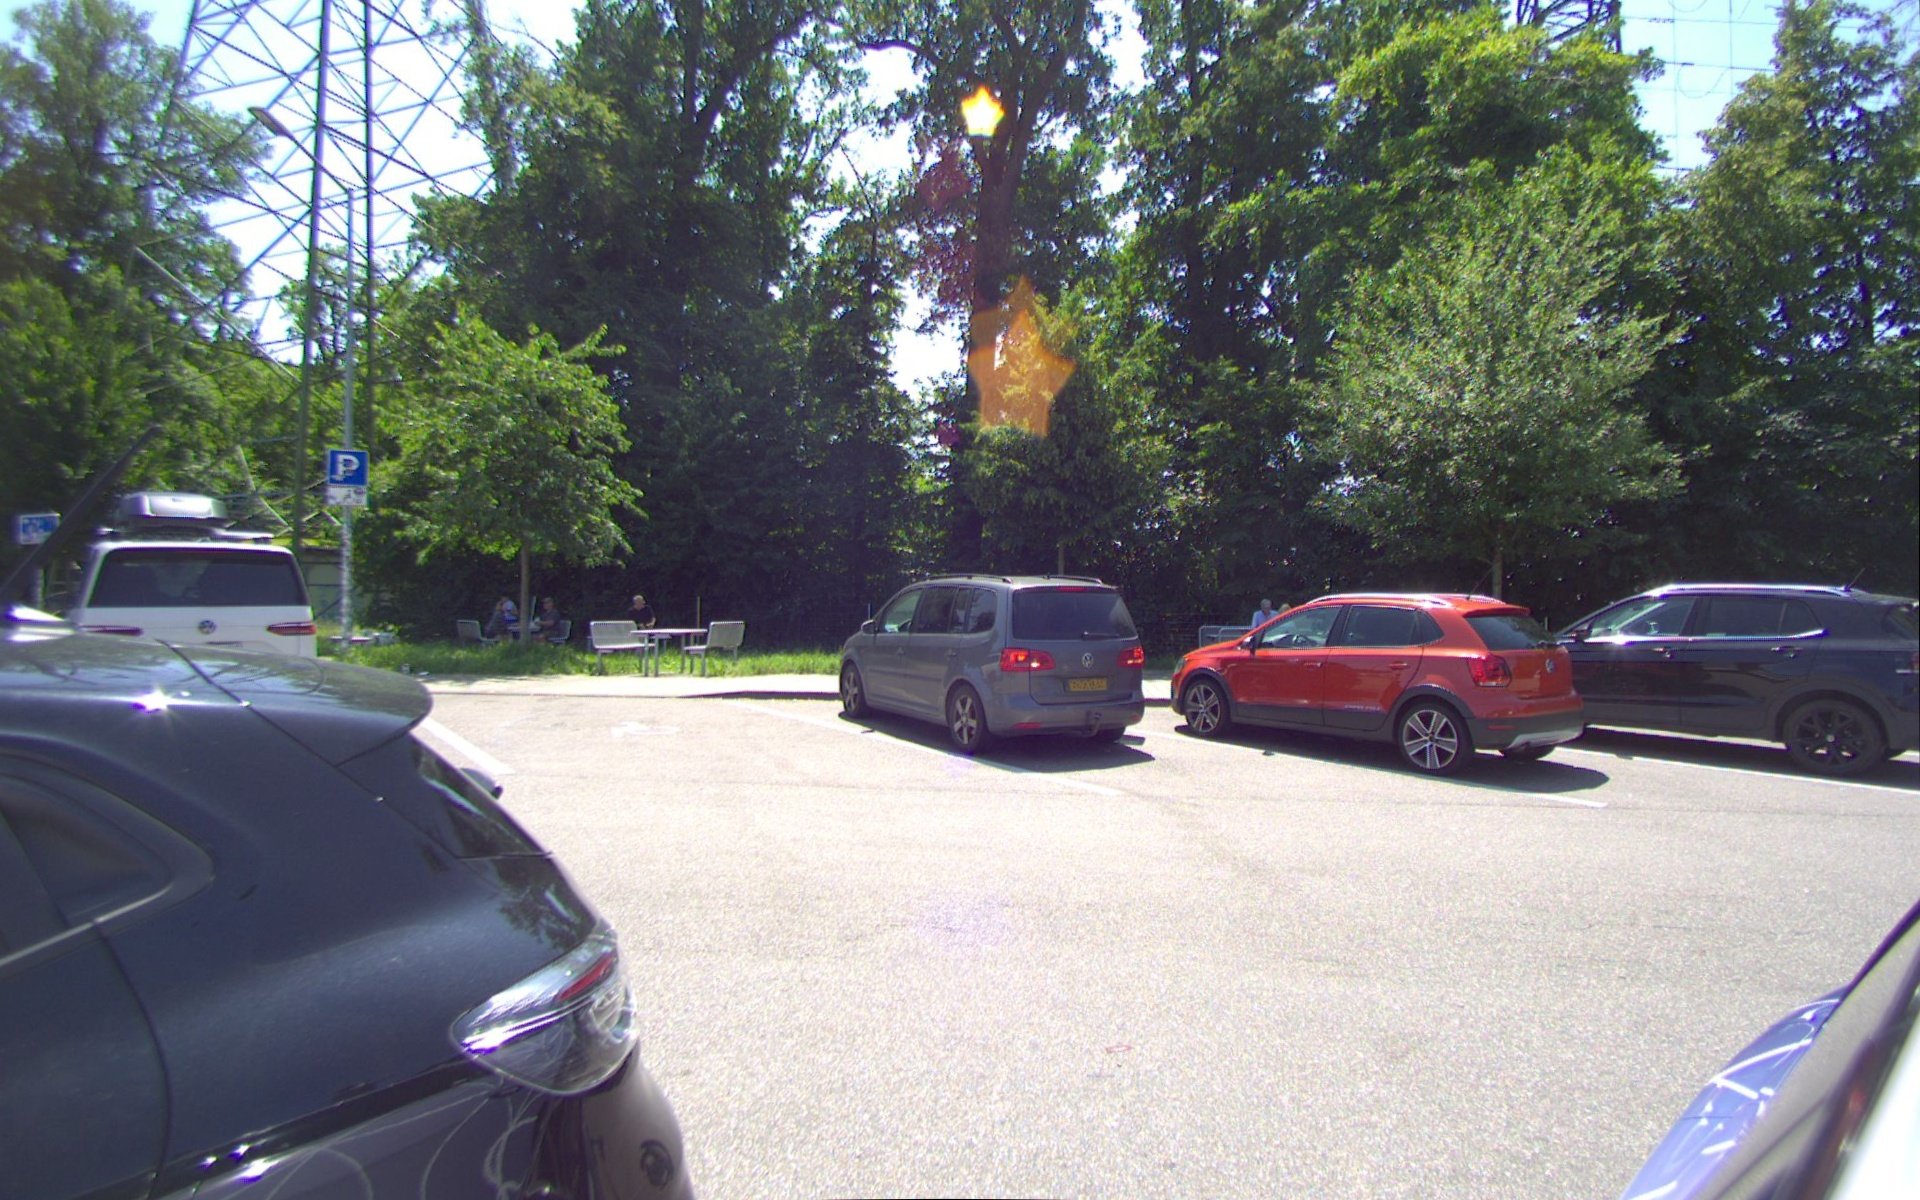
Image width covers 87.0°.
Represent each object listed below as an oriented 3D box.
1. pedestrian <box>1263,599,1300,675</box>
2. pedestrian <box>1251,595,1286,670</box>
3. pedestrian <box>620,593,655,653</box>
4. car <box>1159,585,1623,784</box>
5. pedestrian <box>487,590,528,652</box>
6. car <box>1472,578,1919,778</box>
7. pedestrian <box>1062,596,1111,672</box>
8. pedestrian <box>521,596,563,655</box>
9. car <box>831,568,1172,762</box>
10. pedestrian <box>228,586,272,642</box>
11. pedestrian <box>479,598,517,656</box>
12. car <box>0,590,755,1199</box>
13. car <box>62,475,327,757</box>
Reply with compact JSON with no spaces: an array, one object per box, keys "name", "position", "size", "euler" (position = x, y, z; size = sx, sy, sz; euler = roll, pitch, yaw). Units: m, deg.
[{"name":"pedestrian","position":[5.676,0.649,17.887],"size":[0.495,1.316,0.491],"euler":[1,-1,0]},{"name":"pedestrian","position":[5.799,0.600,19.011],"size":[0.495,1.393,0.491],"euler":[1,-1,0]},{"name":"pedestrian","position":[-6.778,0.472,21.293],"size":[0.550,1.229,0.599],"euler":[1,-1,-1]},{"name":"car","position":[3.849,0.613,9.643],"size":[1.604,1.476,3.810],"euler":[0,1,-34]},{"name":"pedestrian","position":[-10.958,0.500,24.504],"size":[0.722,1.478,0.669],"euler":[1,-1,-39]},{"name":"car","position":[7.228,0.584,9.666],"size":[1.727,1.566,3.806],"euler":[0,1,-39]},{"name":"pedestrian","position":[2.098,0.573,16.868],"size":[0.660,1.235,0.682],"euler":[1,-2,-5]},{"name":"pedestrian","position":[-9.726,0.592,23.567],"size":[0.722,1.343,0.669],"euler":[1,-1,-39]},{"name":"car","position":[0.213,0.508,10.545],"size":[1.717,1.611,3.961],"euler":[0,1,-30]},{"name":"pedestrian","position":[-18.027,0.351,25.707],"size":[0.601,1.391,0.703],"euler":[0,-1,24]},{"name":"pedestrian","position":[-10.446,0.608,22.870],"size":[0.630,1.287,0.579],"euler":[1,-1,-39]},{"name":"car","position":[-2.138,0.723,0.578],"size":[1.615,1.503,3.706],"euler":[0,-1,44]},{"name":"car","position":[-8.077,0.096,10.616],"size":[1.885,2.353,4.089],"euler":[0,1,-40]}]
